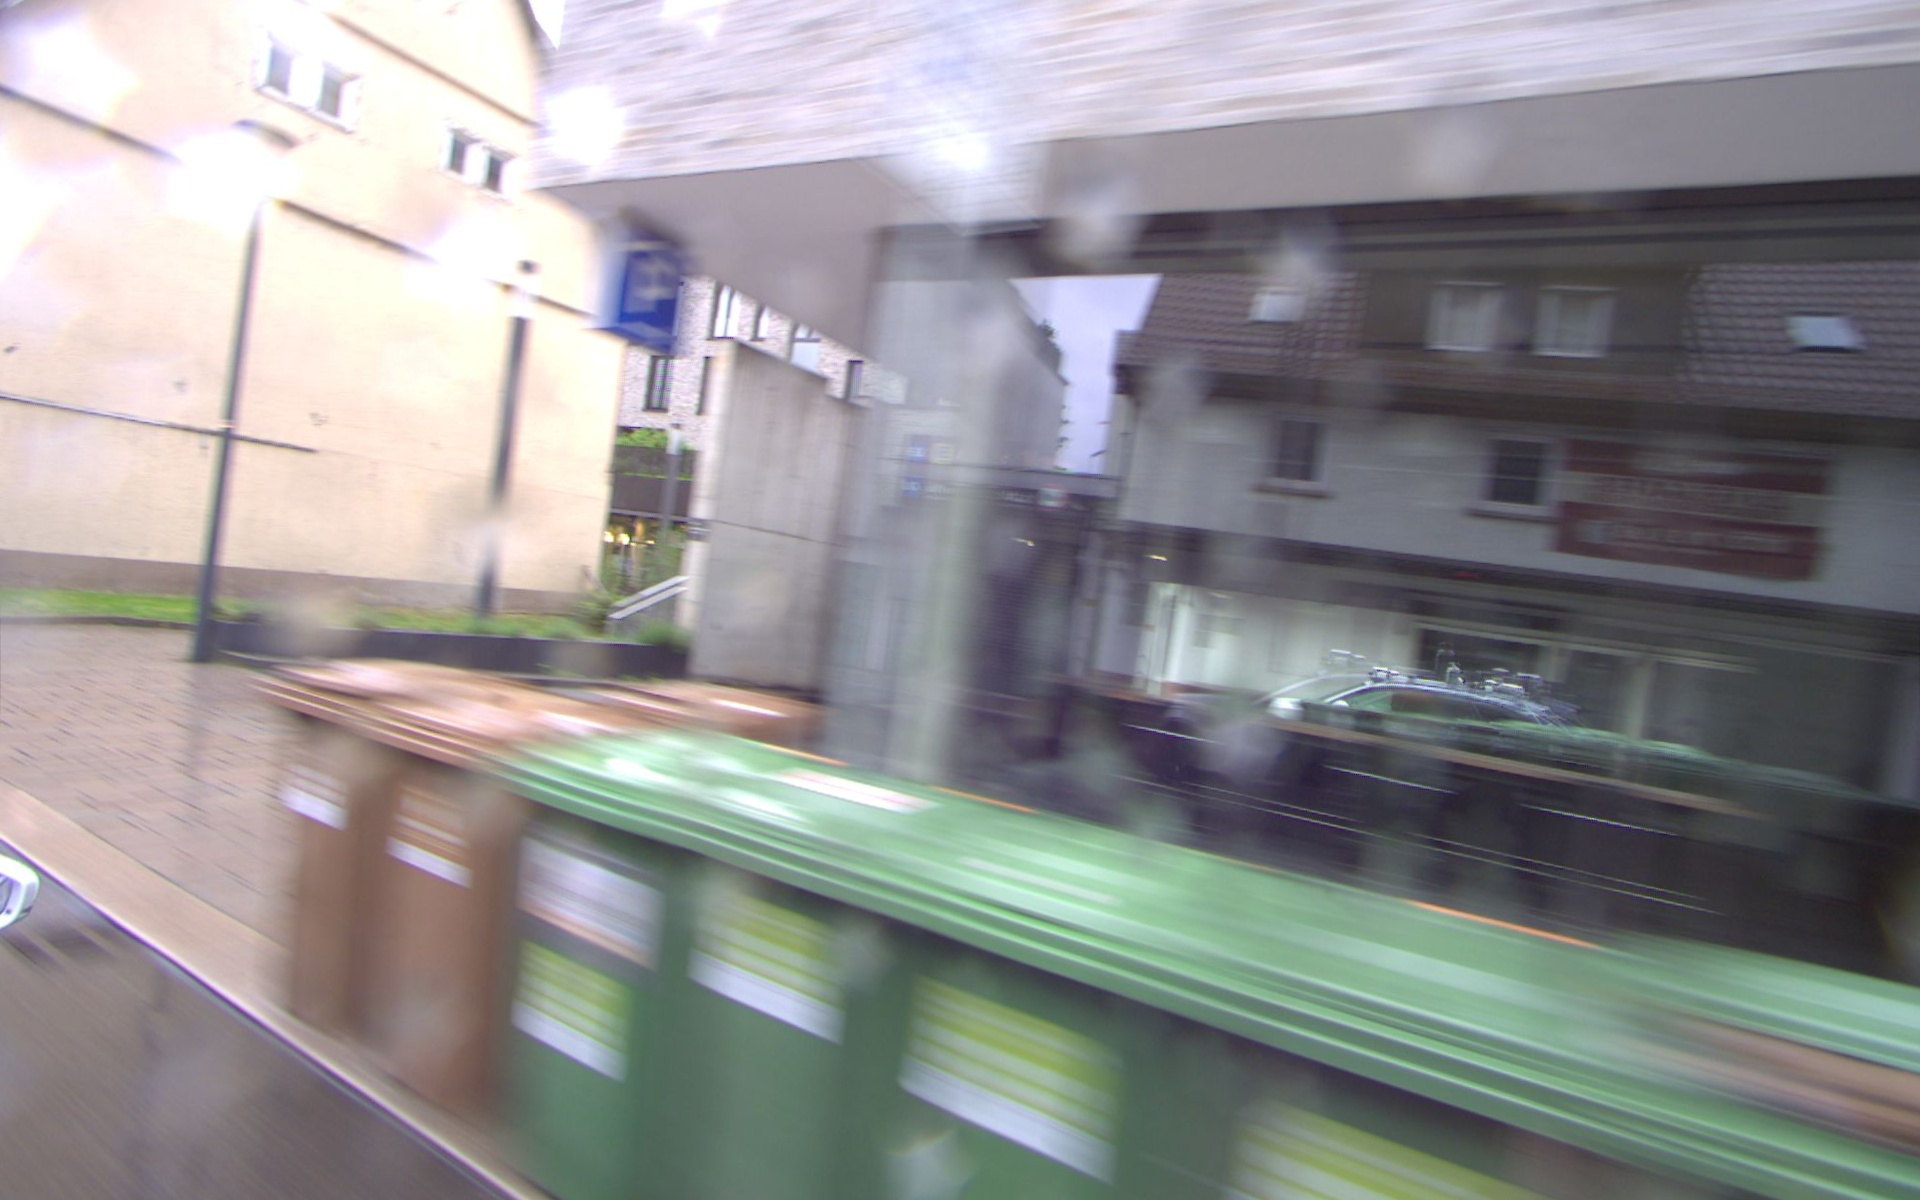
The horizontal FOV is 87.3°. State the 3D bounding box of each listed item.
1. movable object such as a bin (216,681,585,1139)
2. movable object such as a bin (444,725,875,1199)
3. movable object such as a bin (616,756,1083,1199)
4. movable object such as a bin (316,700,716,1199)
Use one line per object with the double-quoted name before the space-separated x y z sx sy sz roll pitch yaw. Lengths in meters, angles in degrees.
"movable object such as a bin" -1.694 0.850 3.096 0.571 1.110 0.766 6 2 32
"movable object such as a bin" -0.706 0.925 2.466 0.571 1.110 0.766 6 2 32
"movable object such as a bin" -0.208 0.962 2.114 0.571 1.110 0.766 6 2 32
"movable object such as a bin" -1.197 0.885 2.779 0.571 1.110 0.766 6 2 32
